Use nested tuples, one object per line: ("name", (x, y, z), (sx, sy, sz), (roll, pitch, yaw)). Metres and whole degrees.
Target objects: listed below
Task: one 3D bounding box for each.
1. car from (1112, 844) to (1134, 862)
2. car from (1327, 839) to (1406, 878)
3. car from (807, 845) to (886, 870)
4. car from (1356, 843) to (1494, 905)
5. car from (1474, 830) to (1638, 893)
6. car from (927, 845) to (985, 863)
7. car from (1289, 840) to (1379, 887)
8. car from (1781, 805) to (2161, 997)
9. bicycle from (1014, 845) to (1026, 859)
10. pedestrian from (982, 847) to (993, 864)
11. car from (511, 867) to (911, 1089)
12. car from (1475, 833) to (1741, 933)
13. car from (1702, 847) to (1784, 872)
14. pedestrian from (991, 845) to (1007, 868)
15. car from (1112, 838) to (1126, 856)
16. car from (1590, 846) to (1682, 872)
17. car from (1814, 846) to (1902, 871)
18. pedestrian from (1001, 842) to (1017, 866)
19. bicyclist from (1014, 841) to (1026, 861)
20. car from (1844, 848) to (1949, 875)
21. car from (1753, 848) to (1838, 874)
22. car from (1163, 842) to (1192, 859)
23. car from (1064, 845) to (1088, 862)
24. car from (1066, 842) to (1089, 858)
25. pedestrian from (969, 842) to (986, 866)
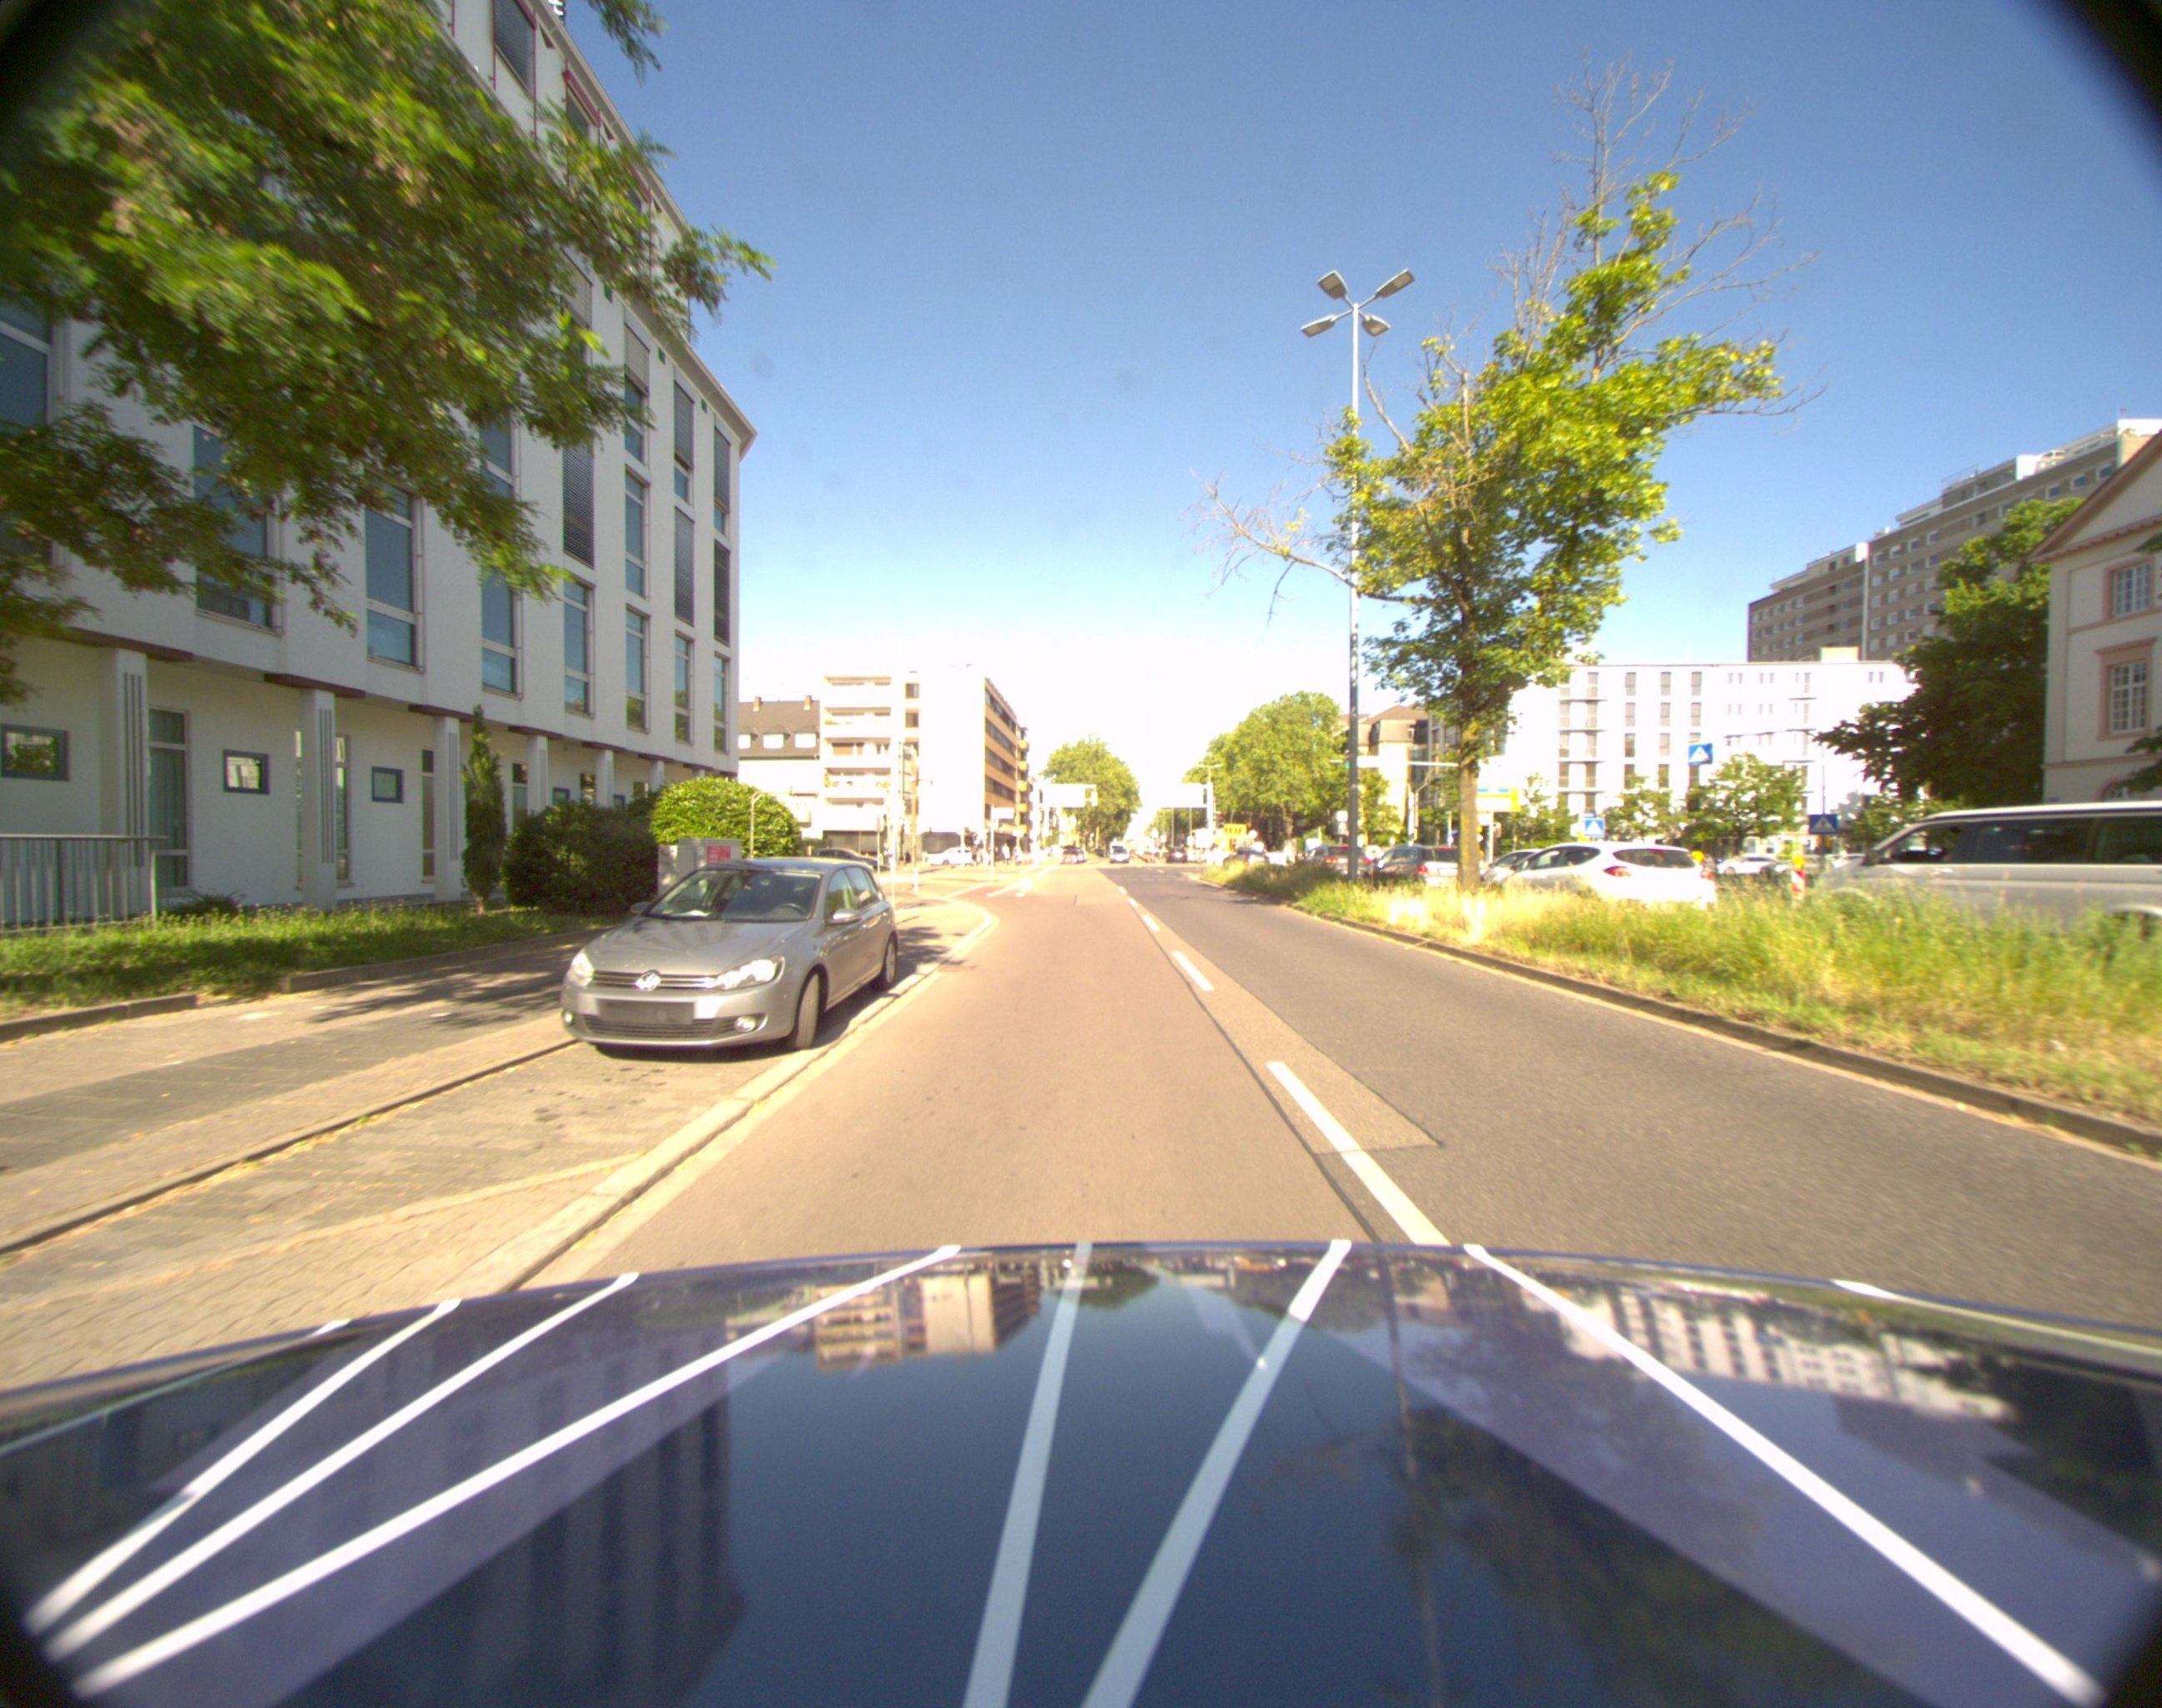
("car", (4.226, -0.141, 76.656), (1.882, 1.511, 4.000), (-1, 4, 8))
("car", (12.245, 0.121, 32.904), (1.800, 1.510, 4.345), (-1, 2, 0))
("car", (-14.064, 0.205, 45.653), (4.052, 1.400, 1.885), (-1, 2, 7))
("car", (9.279, 0.472, 20.922), (1.800, 1.510, 4.362), (-1, 1, 0))
("car", (12.422, 0.144, 20.218), (1.800, 1.510, 4.078), (0, 1, 0))
("car", (-10.729, -0.023, 65.276), (4.558, 1.510, 1.880), (-1, 0, -36))
("car", (9.068, 0.286, 27.615), (1.800, 1.510, 4.345), (-1, 2, 0))
("car", (12.429, 0.451, 9.756), (2.239, 2.016, 5.016), (0, 1, 0))
("bicycle", (-4.742, -0.172, 59.135), (0.867, 0.985, 1.900), (-2, 4, -6))
("pedestrian", (-6.802, 0.133, 55.367), (0.647, 1.196, 0.526), (0, 4, 11))
("car", (-2.904, 0.852, 7.081), (1.642, 1.439, 4.156), (0, -1, 1))
("car", (9.031, 0.403, 13.547), (1.800, 1.510, 4.204), (0, 1, 0))
("car", (47.161, 0.402, 54.176), (3.995, 1.609, 1.918), (-1, 4, 6))
("pedestrian", (-5.944, 0.165, 55.217), (0.897, 1.614, 0.721), (0, 4, 11))
("car", (5.415, -1.047, 108.111), (1.883, 2.498, 4.451), (0, 1, 3))
("car", (38.130, 0.309, 52.330), (4.704, 1.609, 1.919), (0, 4, 10))
("car", (54.839, 0.284, 53.699), (3.995, 1.609, 1.918), (-1, 4, 6))
("pedestrian", (-5.113, -0.012, 54.085), (0.788, 1.599, 0.927), (-4, 5, -33))
("bicyclist", (-4.707, -0.263, 58.871), (0.870, 1.525, 0.852), (-1, 2, -7))
("car", (54.210, 0.488, 50.578), (4.707, 1.609, 1.918), (-1, 4, 3))
("car", (47.960, 0.477, 51.070), (3.995, 1.609, 1.562), (-1, 4, 6))
("car", (9.132, -0.363, 72.388), (1.862, 1.576, 4.275), (0, 1, -5))
("car", (-0.453, -0.075, 75.217), (1.882, 1.510, 4.001), (-1, 1, 8))
("car", (-0.349, -0.466, 83.077), (1.882, 1.511, 4.000), (-1, 4, 8))
("pedestrian", (-7.432, 0.009, 54.488), (0.798, 1.635, 0.982), (-4, 5, -33))
